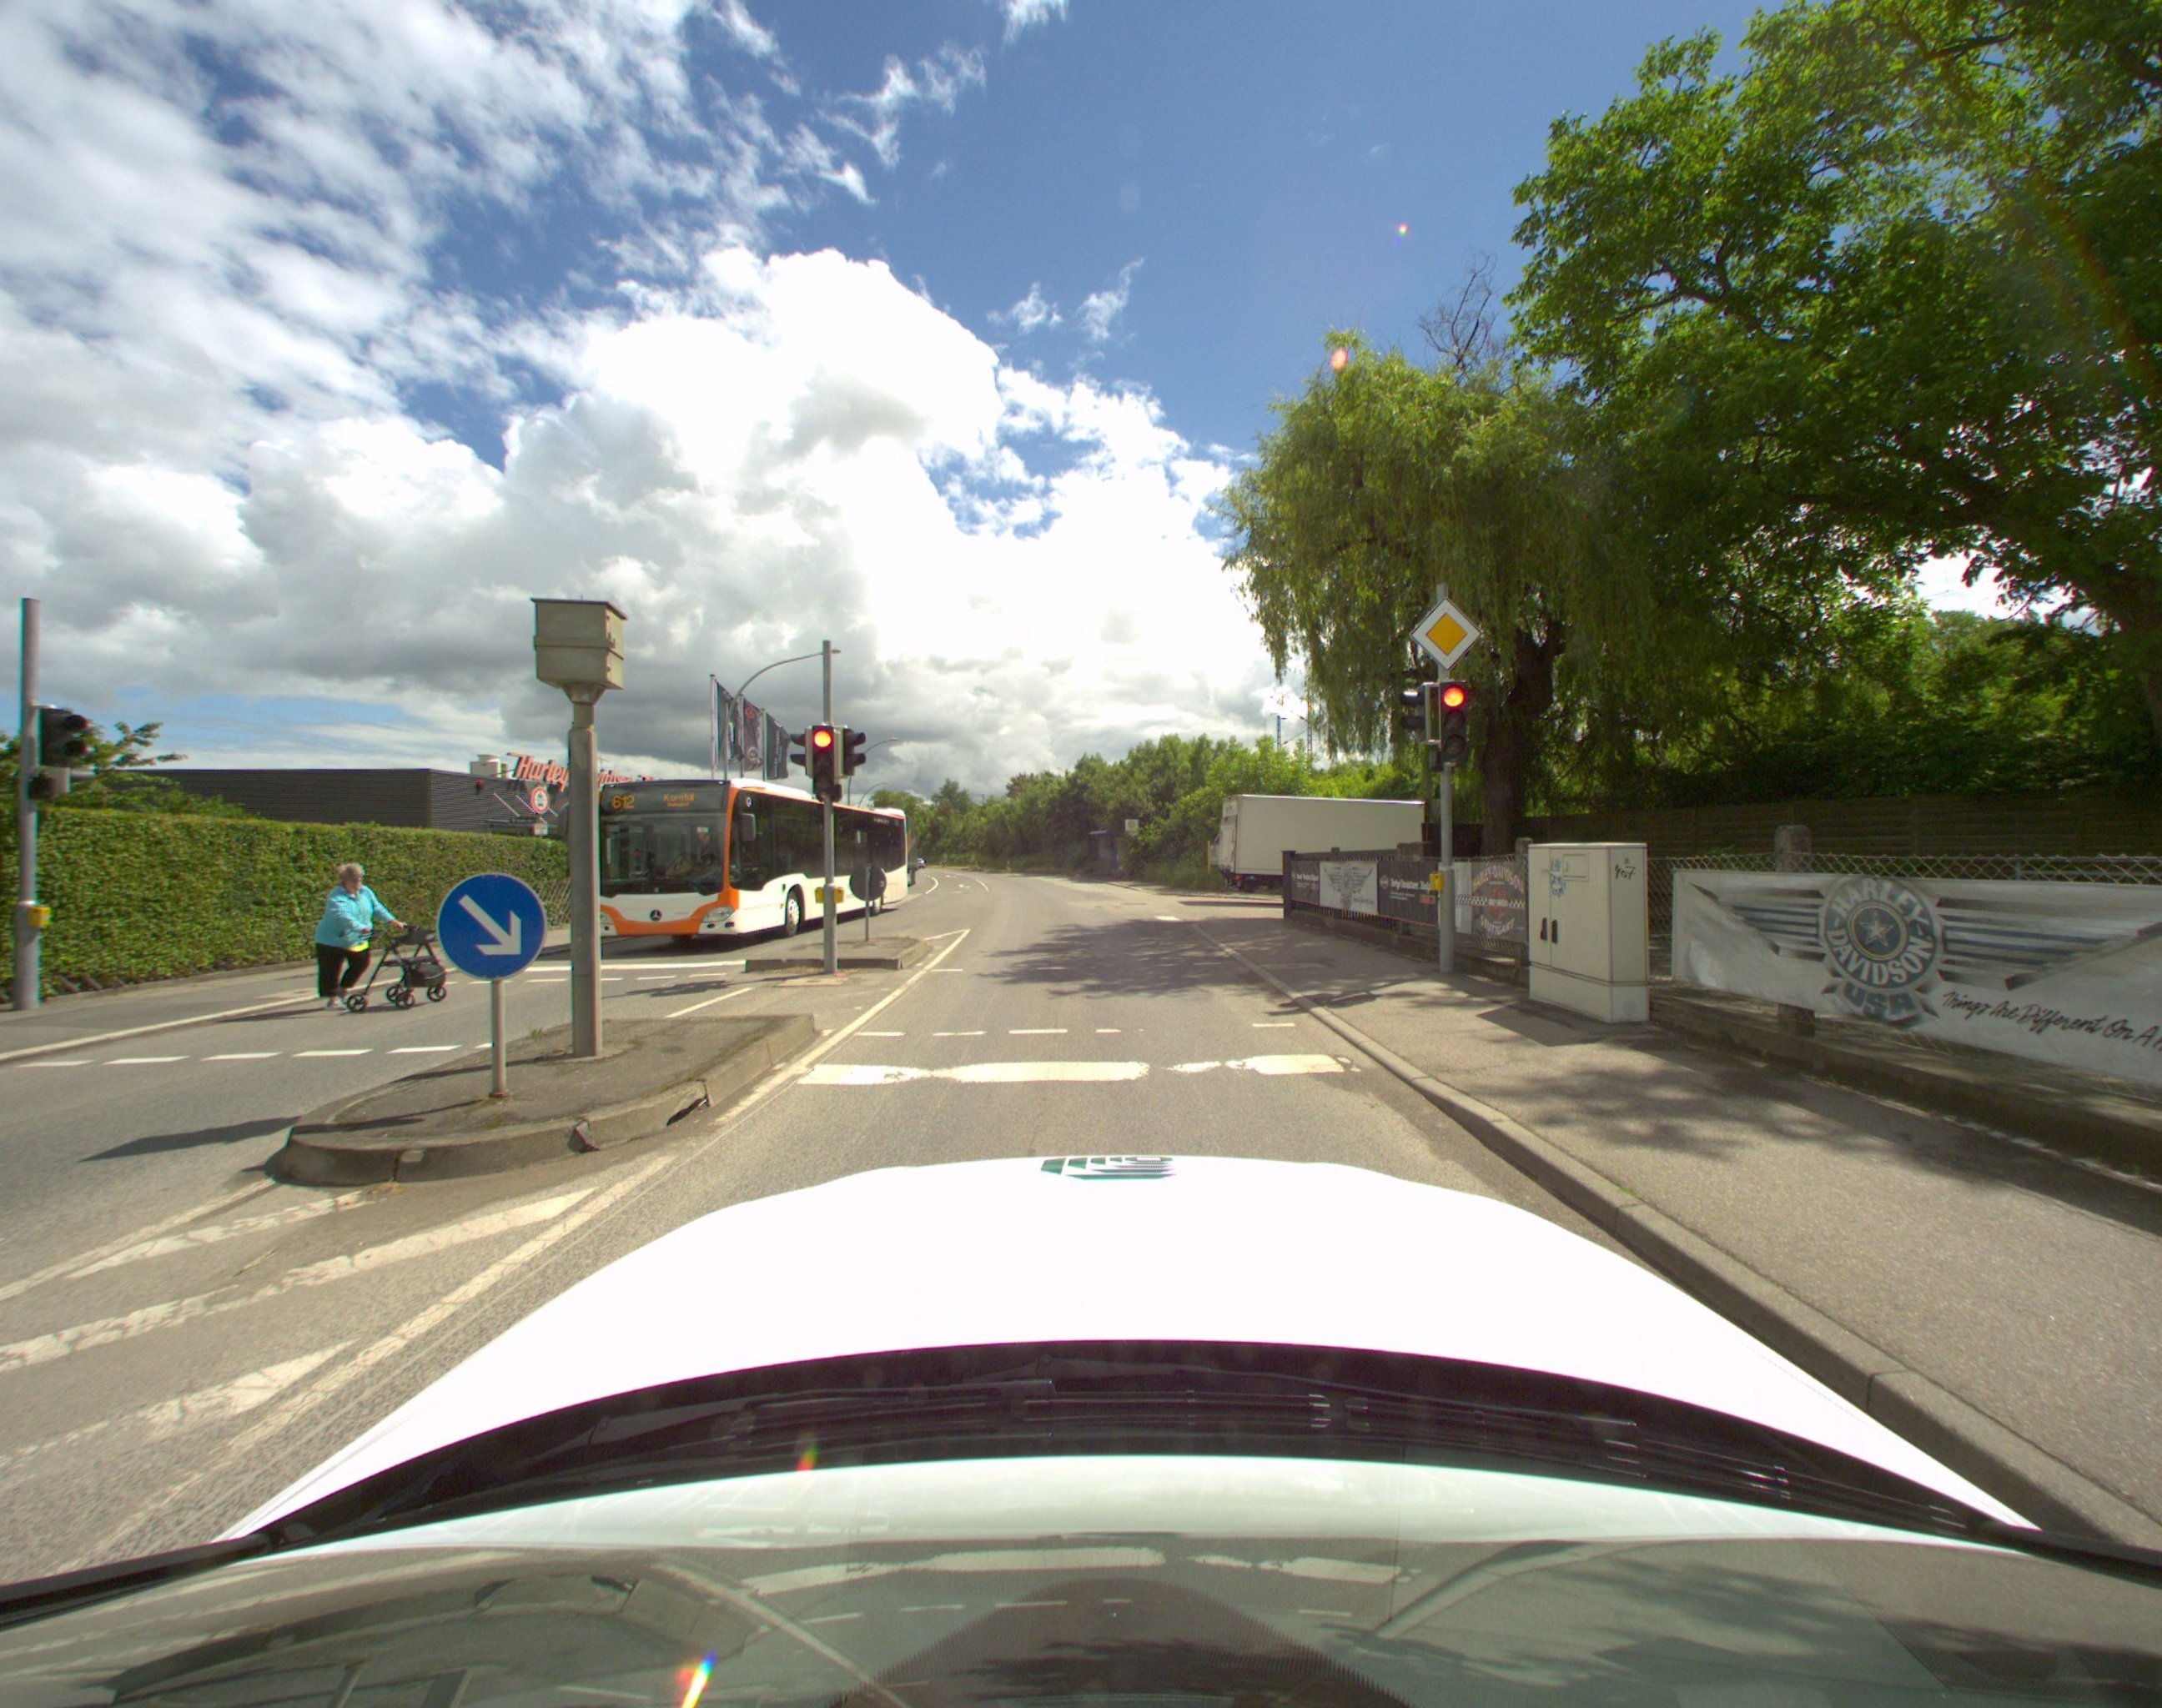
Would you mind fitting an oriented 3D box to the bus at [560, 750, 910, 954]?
[{"bbox_3d":[-6.933,-0.002,19.380,2.767,3.266,12.127,-2,0,2],"label":"bus"}]

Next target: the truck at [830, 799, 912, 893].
[{"bbox_3d":[-10.227,-0.306,40.592,2.425,4.131,9.132,1,-1,-6],"label":"truck"}]

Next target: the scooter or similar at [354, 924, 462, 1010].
[{"bbox_3d":[-7.342,1.219,8.911,0.609,0.831,0.659,-1,0,0],"label":"scooter or similar"}]

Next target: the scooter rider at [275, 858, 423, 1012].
[{"bbox_3d":[-7.964,0.849,8.902,0.875,1.589,0.796,-1,0,0],"label":"scooter rider"}]

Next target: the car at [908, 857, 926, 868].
[{"bbox_3d":[-23.176,1.174,115.020,1.892,1.508,3.970,0,0,-22],"label":"car"}]

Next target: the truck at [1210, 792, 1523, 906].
[{"bbox_3d":[9.467,-0.159,27.694,9.664,3.541,2.848,1,0,-1],"label":"truck"}]
